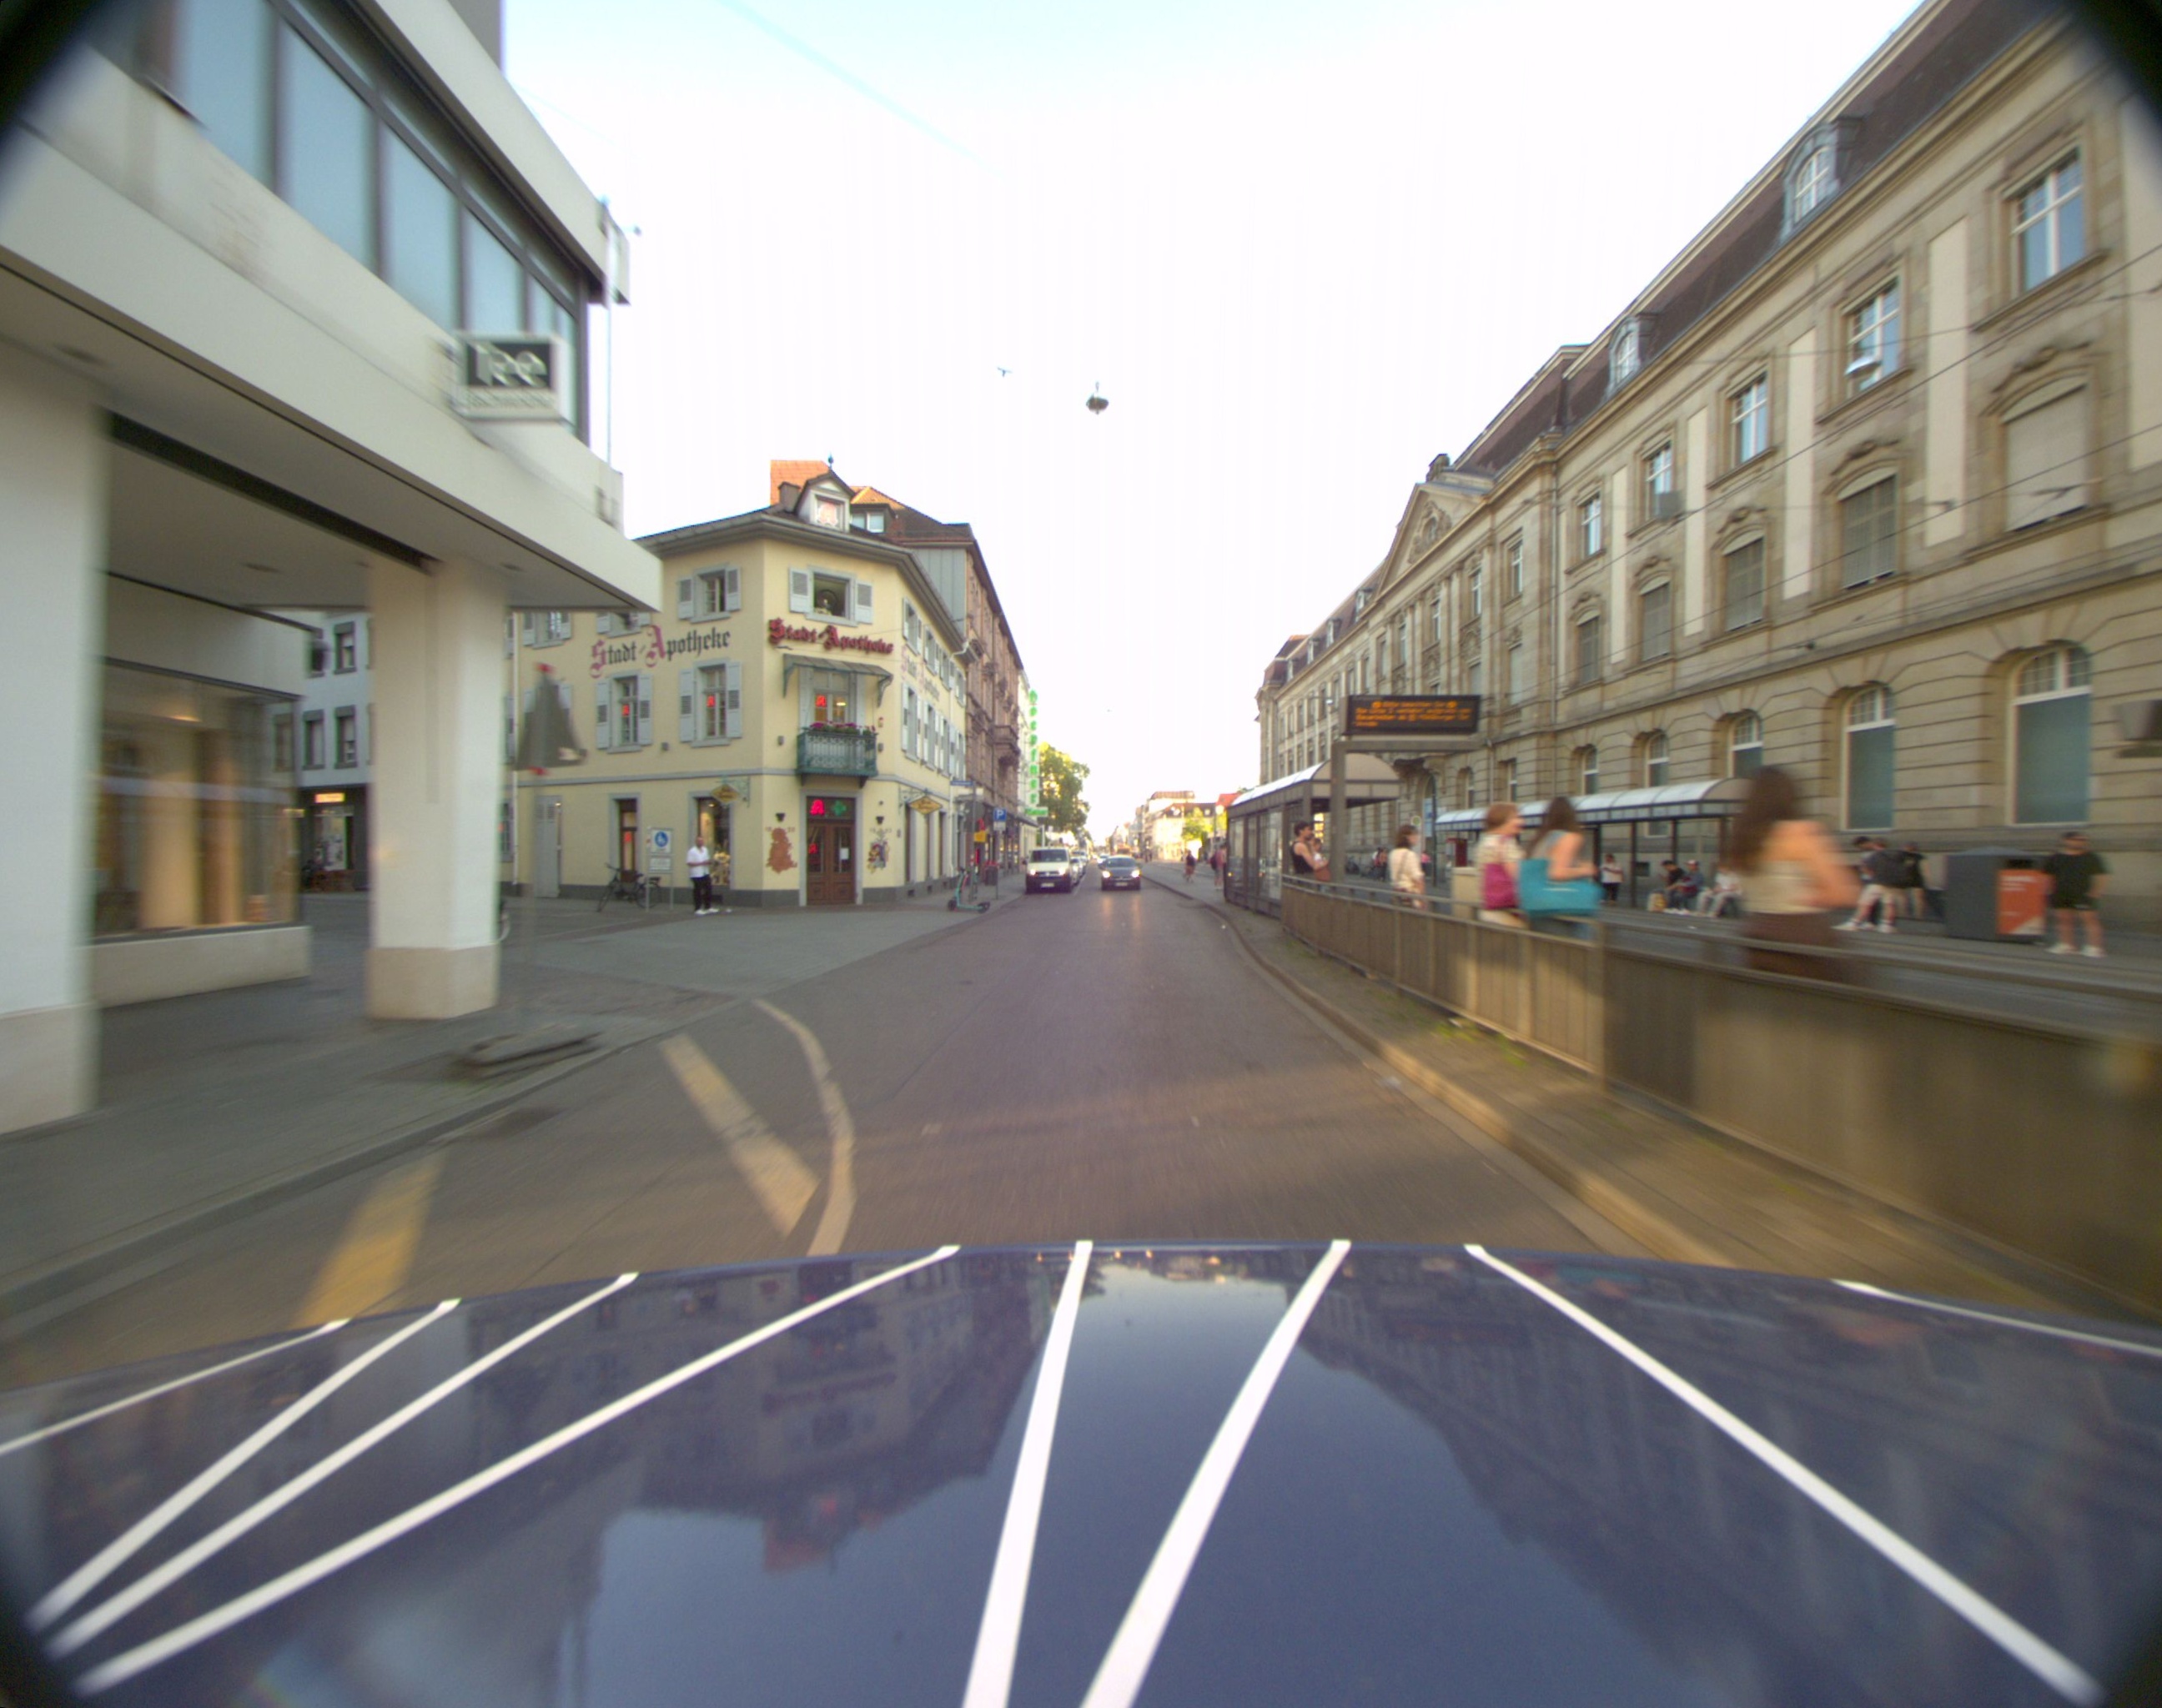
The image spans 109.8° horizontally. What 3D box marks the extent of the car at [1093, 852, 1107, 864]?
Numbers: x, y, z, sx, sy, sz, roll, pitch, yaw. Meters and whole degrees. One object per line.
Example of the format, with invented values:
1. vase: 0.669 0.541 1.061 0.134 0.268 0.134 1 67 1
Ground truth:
1. car: 2.489 0.562 100.191 1.810 1.474 4.283 -2 0 0

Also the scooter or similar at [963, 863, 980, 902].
1. scooter or similar: -3.628 0.934 25.213 0.272 1.227 1.308 1 1 4

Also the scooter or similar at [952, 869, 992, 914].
1. scooter or similar: -3.061 1.039 21.351 1.049 1.227 0.271 1 1 -31

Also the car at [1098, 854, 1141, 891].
1. car: 1.676 0.787 34.008 1.738 1.495 4.000 -1 1 1

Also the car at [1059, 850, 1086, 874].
1. car: -0.555 0.534 53.424 1.737 1.502 4.864 -2 1 0

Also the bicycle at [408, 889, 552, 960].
1. bicycle: -9.611 1.093 12.260 0.771 1.022 1.848 -1 -1 4

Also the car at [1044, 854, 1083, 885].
1. car: -0.839 0.778 39.698 1.810 1.474 4.778 -2 0 0

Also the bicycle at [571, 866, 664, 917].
1. bicycle: -11.766 0.916 19.341 0.770 1.174 1.850 -1 1 31

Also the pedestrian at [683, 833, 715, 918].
1. pedestrian: -9.193 0.510 18.305 0.544 2.002 0.644 0 1 -13

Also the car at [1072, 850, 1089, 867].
1. car: -0.022 0.501 91.061 1.857 2.055 5.215 0 0 1

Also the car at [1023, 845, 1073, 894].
1. car: -1.360 0.607 33.071 1.881 1.912 4.699 -2 1 0

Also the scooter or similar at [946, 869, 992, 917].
1. scooter or similar: -3.047 1.048 20.652 1.177 1.227 0.317 1 1 17
